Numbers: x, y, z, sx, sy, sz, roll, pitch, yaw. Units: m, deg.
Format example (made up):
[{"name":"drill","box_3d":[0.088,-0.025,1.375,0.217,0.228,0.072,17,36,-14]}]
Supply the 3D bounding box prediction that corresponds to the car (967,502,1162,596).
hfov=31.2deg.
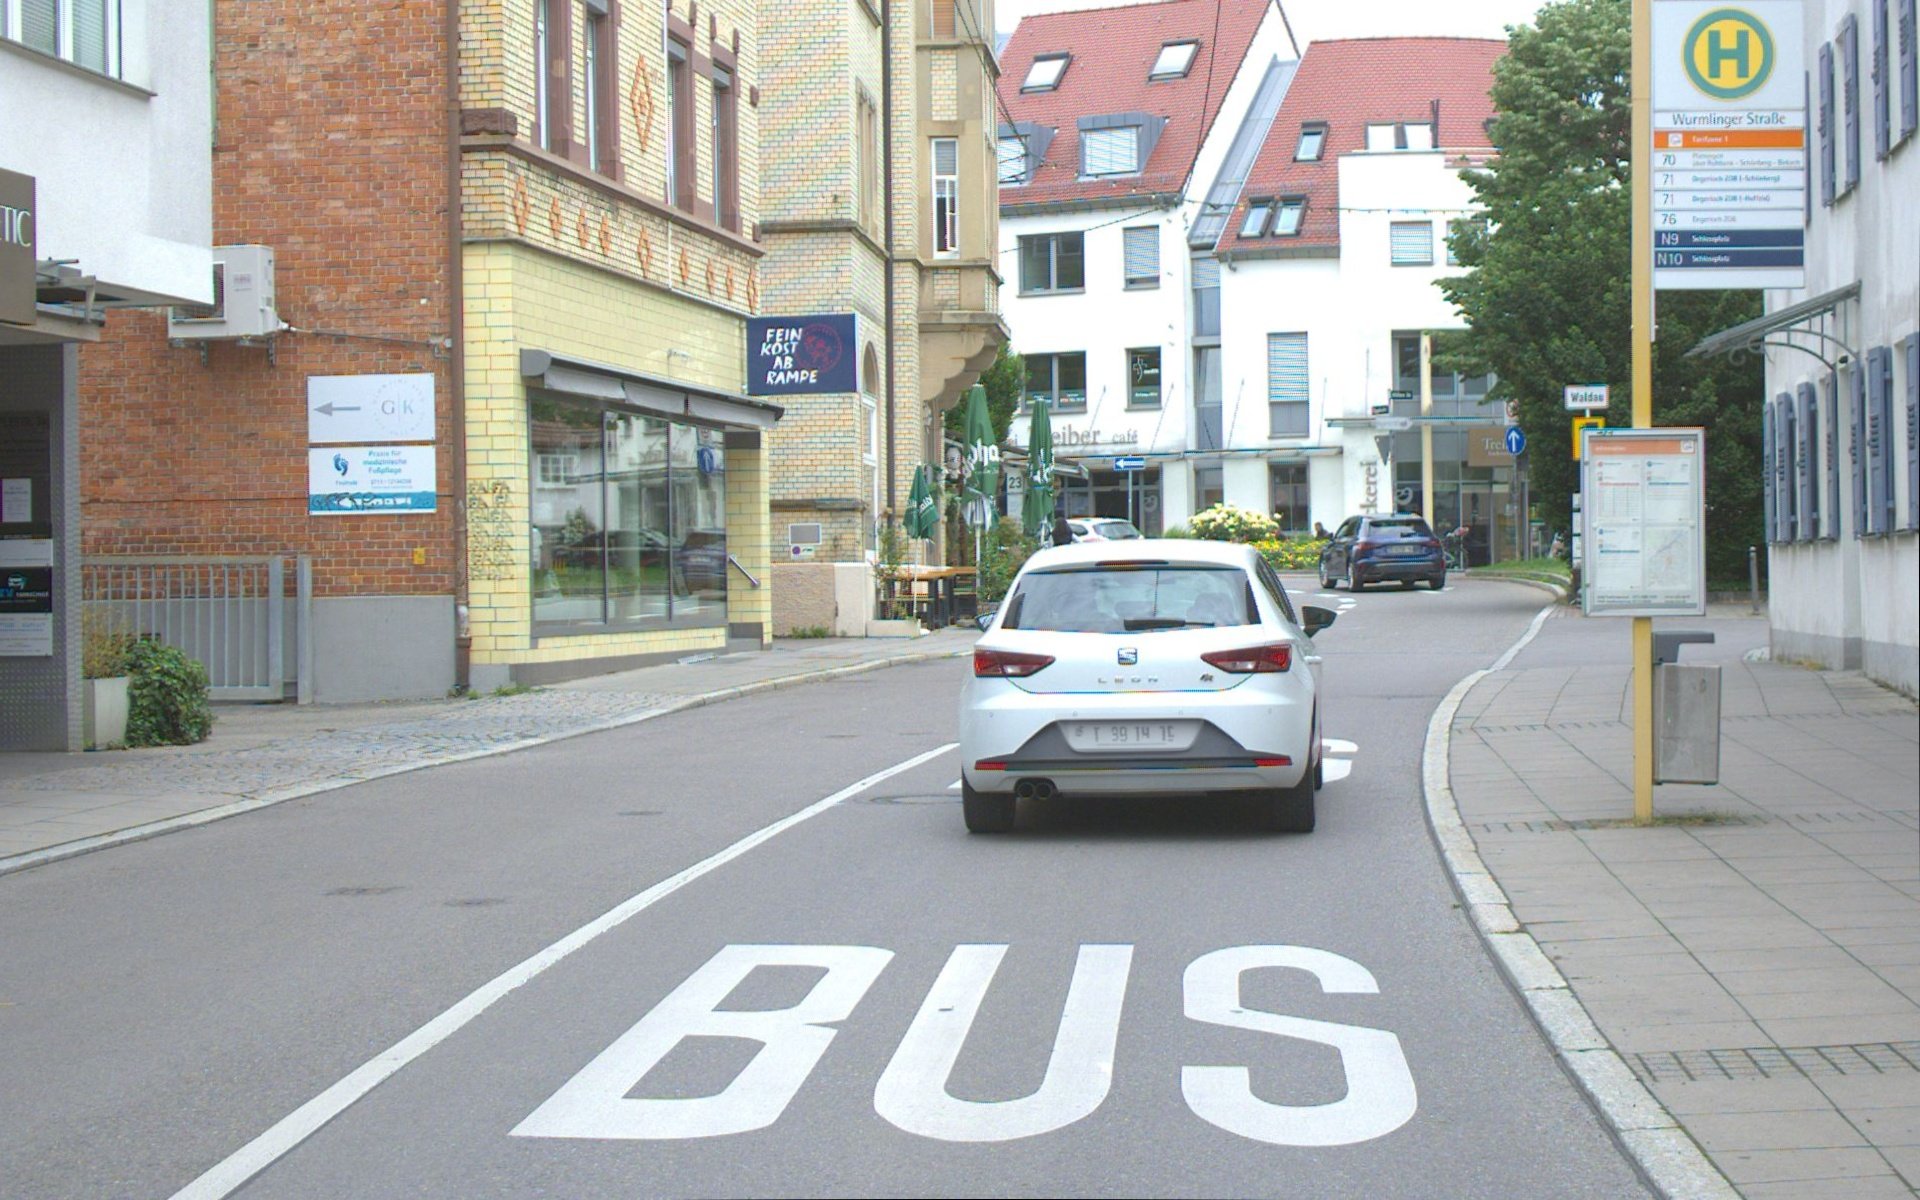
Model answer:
[{"name":"car","box_3d":[2.288,-1.127,75.873,3.997,2.007,1.995,0,1,44]}]

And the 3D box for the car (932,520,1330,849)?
[{"name":"car","box_3d":[1.002,0.358,18.033,1.812,1.475,3.870,-1,2,7]}]

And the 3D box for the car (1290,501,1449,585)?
[{"name":"car","box_3d":[7.598,-1.091,64.146,1.811,1.475,3.872,-1,2,-11]}]

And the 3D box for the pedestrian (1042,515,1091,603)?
[{"name":"pedestrian","box_3d":[1.899,-0.731,61.154,0.834,1.546,0.627,-1,1,3]}]
